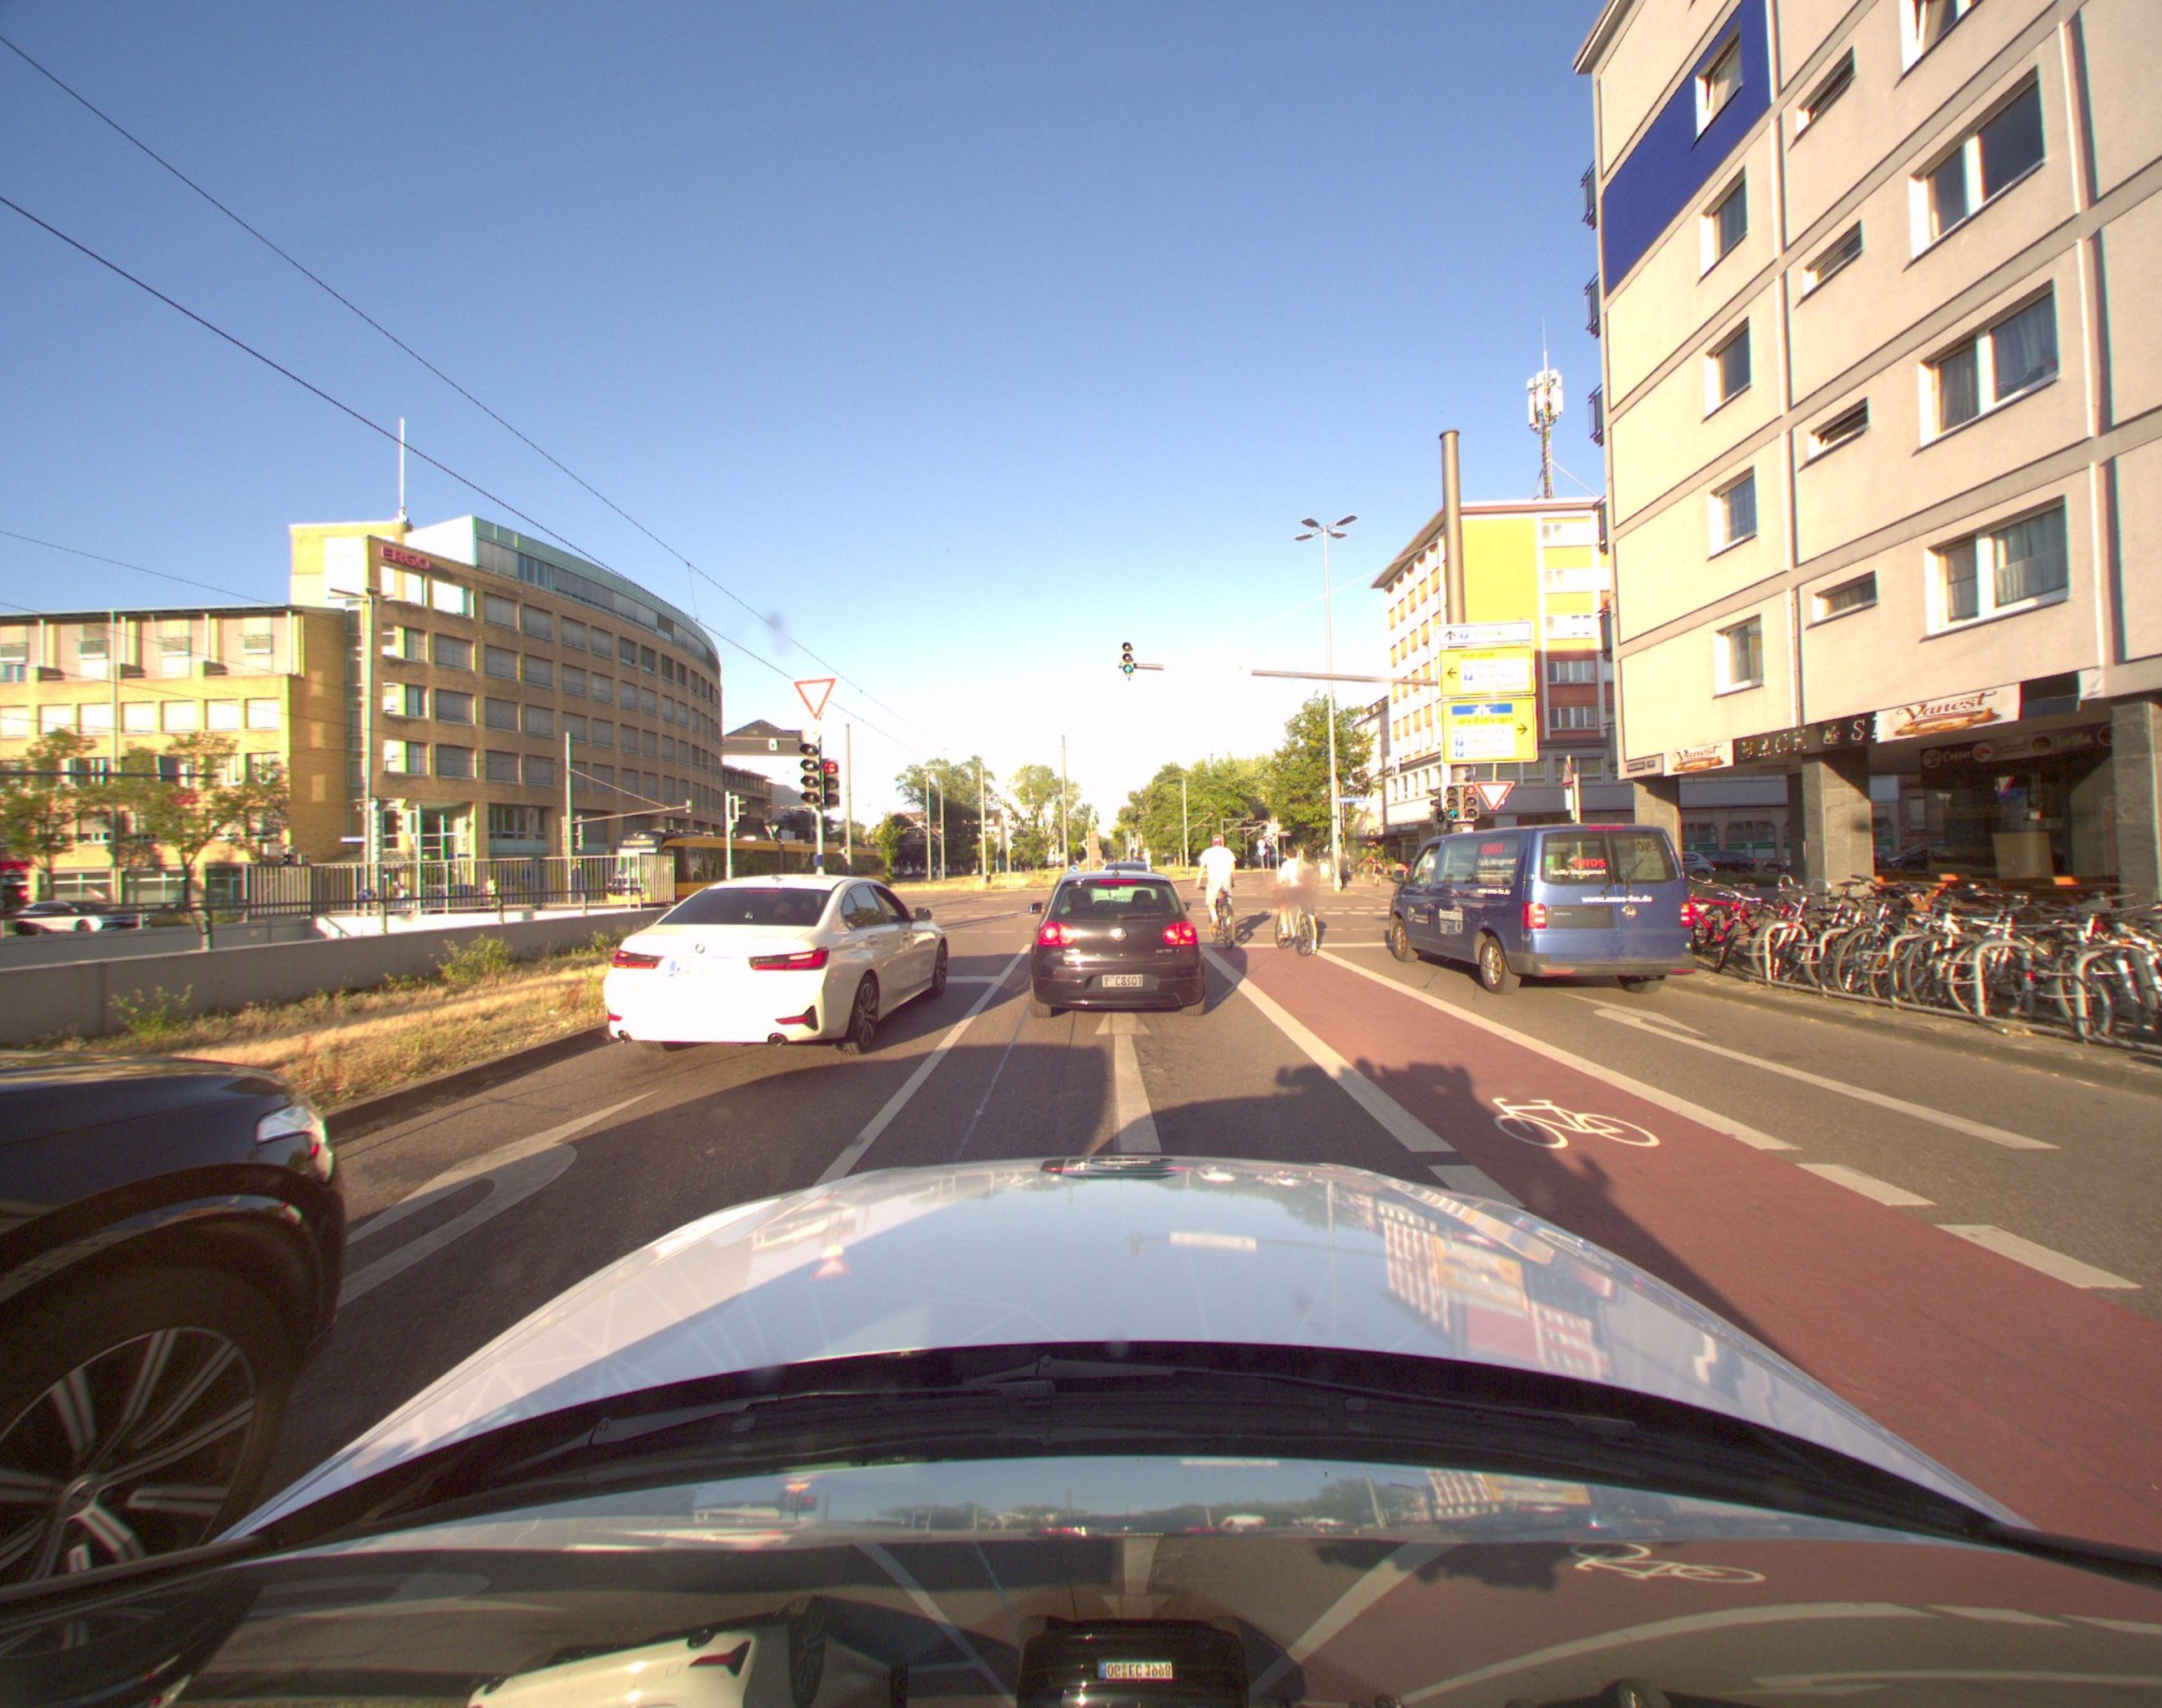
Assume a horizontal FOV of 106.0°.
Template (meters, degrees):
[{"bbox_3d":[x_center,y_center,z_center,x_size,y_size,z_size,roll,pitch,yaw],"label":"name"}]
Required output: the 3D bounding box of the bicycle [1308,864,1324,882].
[{"bbox_3d":[16.137,1.298,56.033,0.642,1.127,1.876,-2,0,4],"label":"bicycle"}]

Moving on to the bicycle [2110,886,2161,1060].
[{"bbox_3d":[8.114,0.744,5.395,1.863,1.125,0.568,-4,-1,-2],"label":"bicycle"}]

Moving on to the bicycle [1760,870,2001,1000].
[{"bbox_3d":[8.072,0.793,8.263,1.863,1.125,0.568,-4,-1,-2],"label":"bicycle"}]

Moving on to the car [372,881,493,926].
[{"bbox_3d":[-25.471,1.906,32.165,1.704,1.540,3.676,-2,-1,3],"label":"car"}]

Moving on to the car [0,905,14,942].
[{"bbox_3d":[-43.617,2.751,30.845,3.971,1.420,1.903,-2,-1,2],"label":"car"}]

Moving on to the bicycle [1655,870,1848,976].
[{"bbox_3d":[8.186,0.825,9.985,1.863,1.125,0.568,-4,-1,-2],"label":"bicycle"}]

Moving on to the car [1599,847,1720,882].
[{"bbox_3d":[25.276,0.451,35.698,3.971,1.376,1.807,-2,-2,2],"label":"car"}]

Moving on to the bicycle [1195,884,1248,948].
[{"bbox_3d":[2.526,1.088,14.819,0.477,1.028,1.978,-1,-1,-4],"label":"bicycle"}]

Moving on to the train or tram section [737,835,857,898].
[{"bbox_3d":[-18.013,0.780,53.077,2.763,3.536,13.256,-1,-1,2],"label":"train or tram section"}]

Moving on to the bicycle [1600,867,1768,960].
[{"bbox_3d":[8.341,0.805,11.293,1.863,1.125,0.568,-4,-1,-2],"label":"bicycle"}]

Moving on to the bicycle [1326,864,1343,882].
[{"bbox_3d":[17.455,1.287,56.108,0.642,1.158,2.126,-2,0,4],"label":"bicycle"}]

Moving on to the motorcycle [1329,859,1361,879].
[{"bbox_3d":[19.184,1.107,59.206,2.031,1.406,0.762,-2,-1,10],"label":"motorcycle"}]

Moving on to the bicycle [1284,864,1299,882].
[{"bbox_3d":[14.468,1.307,56.046,0.642,1.127,1.876,-2,0,4],"label":"bicycle"}]

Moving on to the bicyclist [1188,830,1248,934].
[{"bbox_3d":[2.489,0.501,14.953,0.825,1.807,1.056,-1,-1,-4],"label":"bicyclist"}]

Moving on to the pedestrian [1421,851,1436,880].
[{"bbox_3d":[20.630,0.687,48.344,0.566,1.701,0.813,-2,-1,3],"label":"pedestrian"}]

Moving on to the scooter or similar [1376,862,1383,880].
[{"bbox_3d":[21.192,1.209,57.740,0.411,1.254,1.189,-2,-1,22],"label":"scooter or similar"}]

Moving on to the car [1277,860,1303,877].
[{"bbox_3d":[20.550,1.393,80.013,1.712,1.472,3.922,-5,-2,26],"label":"car"}]

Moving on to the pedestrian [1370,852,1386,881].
[{"bbox_3d":[16.608,0.695,45.544,0.678,1.589,0.748,-2,-1,7],"label":"pedestrian"}]

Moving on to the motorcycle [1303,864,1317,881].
[{"bbox_3d":[17.246,1.390,61.339,0.662,1.242,2.206,-2,-1,9],"label":"motorcycle"}]

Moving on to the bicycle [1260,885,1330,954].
[{"bbox_3d":[3.607,1.073,13.869,0.574,1.028,1.854,-1,-1,-4],"label":"bicycle"}]

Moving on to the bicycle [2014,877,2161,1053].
[{"bbox_3d":[8.108,0.751,5.968,1.863,1.125,0.568,-4,-1,-2],"label":"bicycle"}]

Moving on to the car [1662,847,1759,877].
[{"bbox_3d":[33.690,0.433,43.670,3.746,1.510,1.758,-2,-1,3],"label":"car"}]

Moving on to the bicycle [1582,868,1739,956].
[{"bbox_3d":[8.489,0.831,11.971,1.863,1.125,0.568,-4,-1,-2],"label":"bicycle"}]

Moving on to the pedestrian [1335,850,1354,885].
[{"bbox_3d":[13.270,0.669,41.046,0.658,1.704,1.074,-2,-1,7],"label":"pedestrian"}]

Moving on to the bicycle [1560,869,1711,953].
[{"bbox_3d":[8.511,0.856,12.546,1.863,1.125,0.606,-4,-1,-2],"label":"bicycle"}]

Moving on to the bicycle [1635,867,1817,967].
[{"bbox_3d":[8.340,0.796,10.563,1.863,1.125,0.568,-4,-1,-2],"label":"bicycle"}]

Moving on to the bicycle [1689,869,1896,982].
[{"bbox_3d":[8.191,0.799,9.413,1.863,1.125,0.568,-4,-1,-2],"label":"bicycle"}]

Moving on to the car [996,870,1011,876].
[{"bbox_3d":[-18.402,4.489,192.496,3.329,1.507,1.658,-2,-1,-1],"label":"car"}]

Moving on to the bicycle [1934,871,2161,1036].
[{"bbox_3d":[8.096,0.765,6.541,1.863,1.125,0.568,-4,-1,-2],"label":"bicycle"}]

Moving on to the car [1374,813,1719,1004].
[{"bbox_3d":[5.689,0.591,10.866,1.929,1.933,4.834,-2,-1,2],"label":"car"}]

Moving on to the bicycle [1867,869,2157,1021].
[{"bbox_3d":[8.089,0.764,7.116,1.863,1.125,0.568,-4,-1,-2],"label":"bicycle"}]

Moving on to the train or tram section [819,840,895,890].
[{"bbox_3d":[-17.653,0.861,64.983,2.763,3.536,10.574,-1,-1,2],"label":"train or tram section"}]

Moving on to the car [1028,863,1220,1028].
[{"bbox_3d":[0.272,0.851,9.490,1.744,1.461,4.097,-1,-1,-4],"label":"car"}]

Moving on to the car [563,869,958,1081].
[{"bbox_3d":[-2.566,0.873,7.923,1.830,1.401,4.586,1,-1,2],"label":"car"}]

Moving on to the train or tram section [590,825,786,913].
[{"bbox_3d":[-18.439,0.676,39.852,2.763,3.536,13.256,-1,-1,2],"label":"train or tram section"}]

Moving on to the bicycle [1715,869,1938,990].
[{"bbox_3d":[8.052,0.798,8.832,1.863,1.125,0.568,-4,-1,-2],"label":"bicycle"}]

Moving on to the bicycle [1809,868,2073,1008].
[{"bbox_3d":[8.081,0.766,7.690,1.863,1.125,0.568,-4,-1,-2],"label":"bicycle"}]

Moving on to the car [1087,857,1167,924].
[{"bbox_3d":[1.260,0.899,21.914,1.857,1.441,4.202,-4,1,4],"label":"car"}]

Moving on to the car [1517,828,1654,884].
[{"bbox_3d":[23.942,0.095,38.768,5.229,2.482,1.926,-1,-1,2],"label":"car"}]

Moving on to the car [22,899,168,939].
[{"bbox_3d":[-40.542,2.644,33.543,3.967,1.420,1.905,-2,-1,5],"label":"car"}]

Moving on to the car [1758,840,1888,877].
[{"bbox_3d":[32.619,0.205,35.876,3.970,1.464,1.789,-2,-1,3],"label":"car"}]

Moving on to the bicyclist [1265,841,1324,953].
[{"bbox_3d":[3.592,0.703,13.769,0.672,1.807,0.993,-1,-1,-3],"label":"bicyclist"}]
